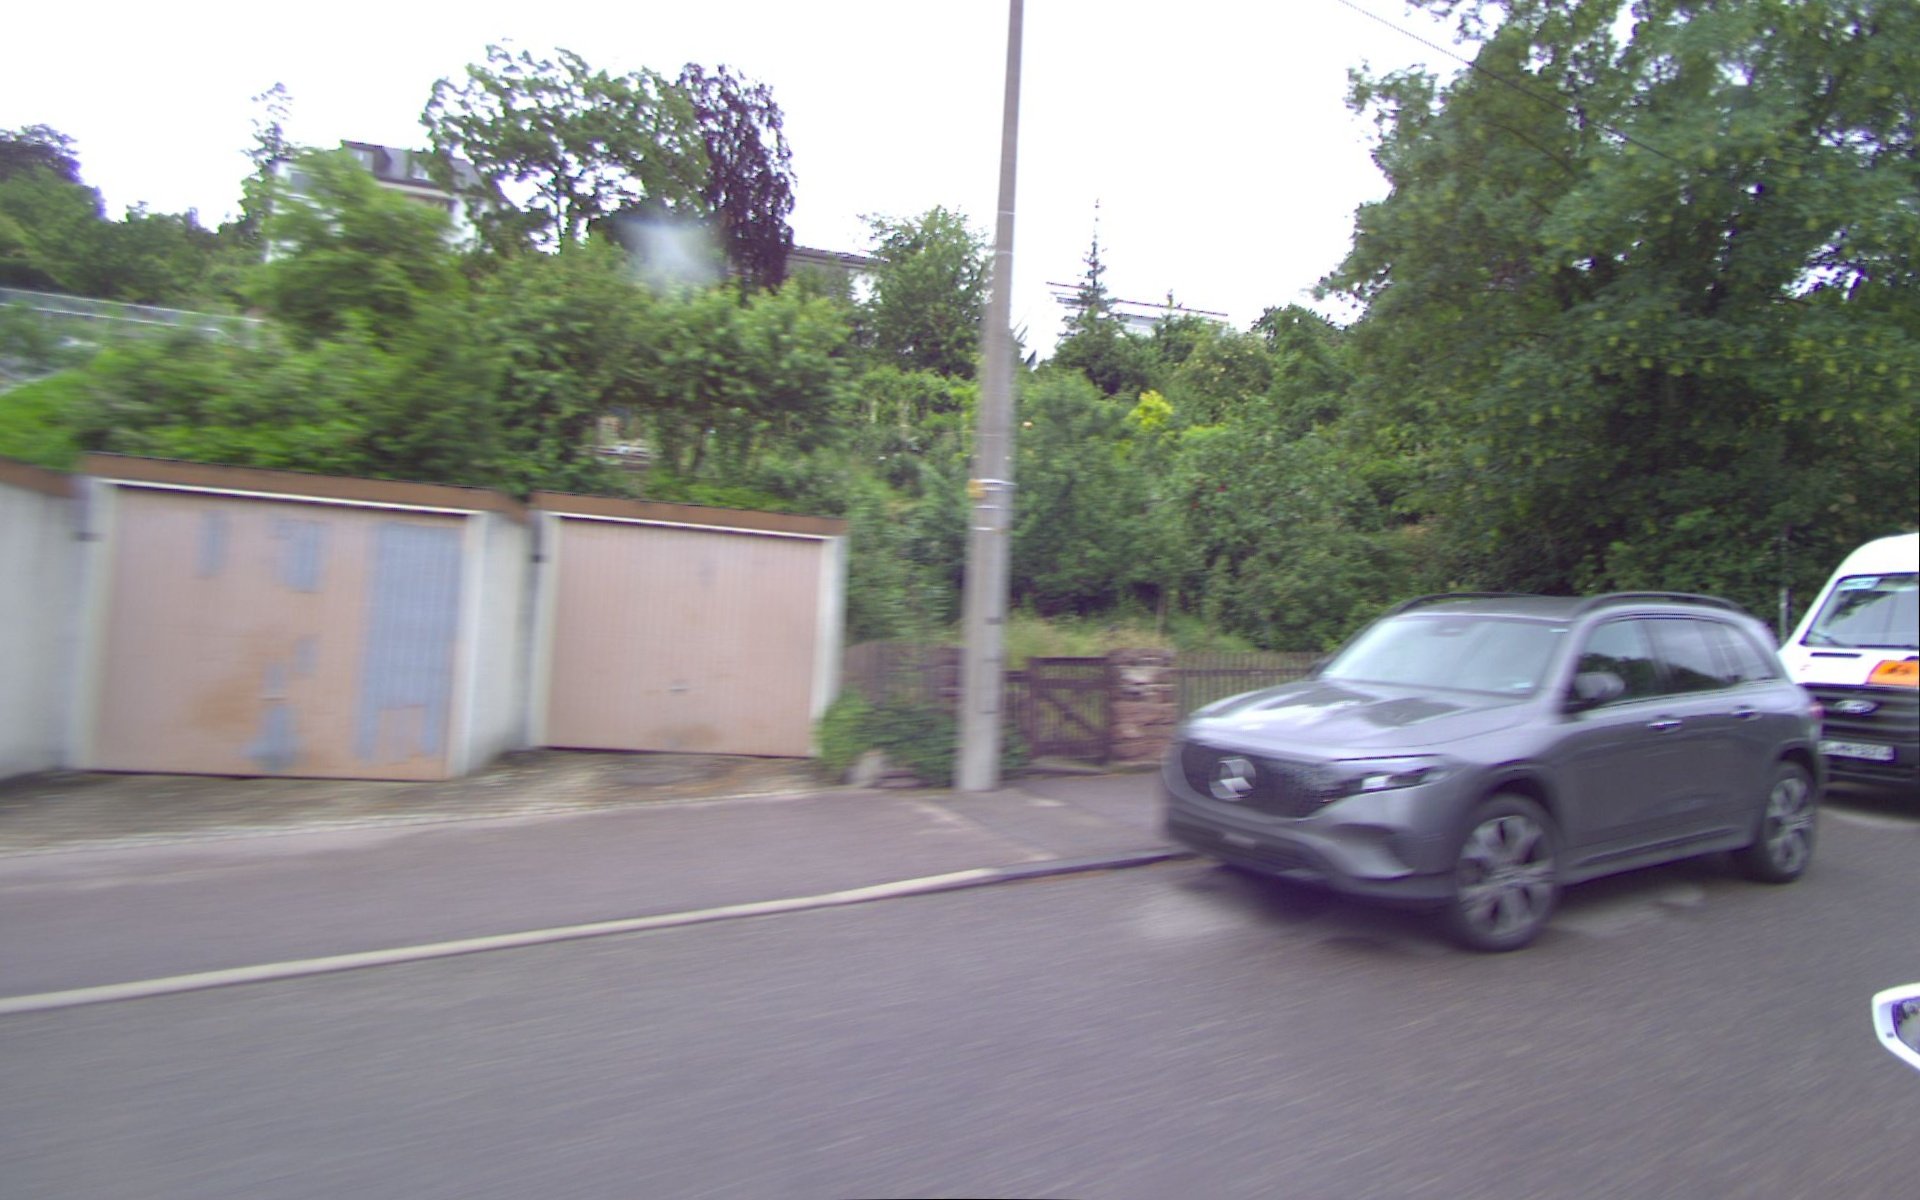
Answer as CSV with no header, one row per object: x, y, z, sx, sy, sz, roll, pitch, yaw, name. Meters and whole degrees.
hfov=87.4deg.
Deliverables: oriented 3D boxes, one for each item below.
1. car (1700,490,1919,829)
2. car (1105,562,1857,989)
9.865,0.506,9.386,6.012,2.584,2.089,1,-1,-24,car
3.229,0.780,6.001,4.492,1.713,1.887,2,-2,-30,car
